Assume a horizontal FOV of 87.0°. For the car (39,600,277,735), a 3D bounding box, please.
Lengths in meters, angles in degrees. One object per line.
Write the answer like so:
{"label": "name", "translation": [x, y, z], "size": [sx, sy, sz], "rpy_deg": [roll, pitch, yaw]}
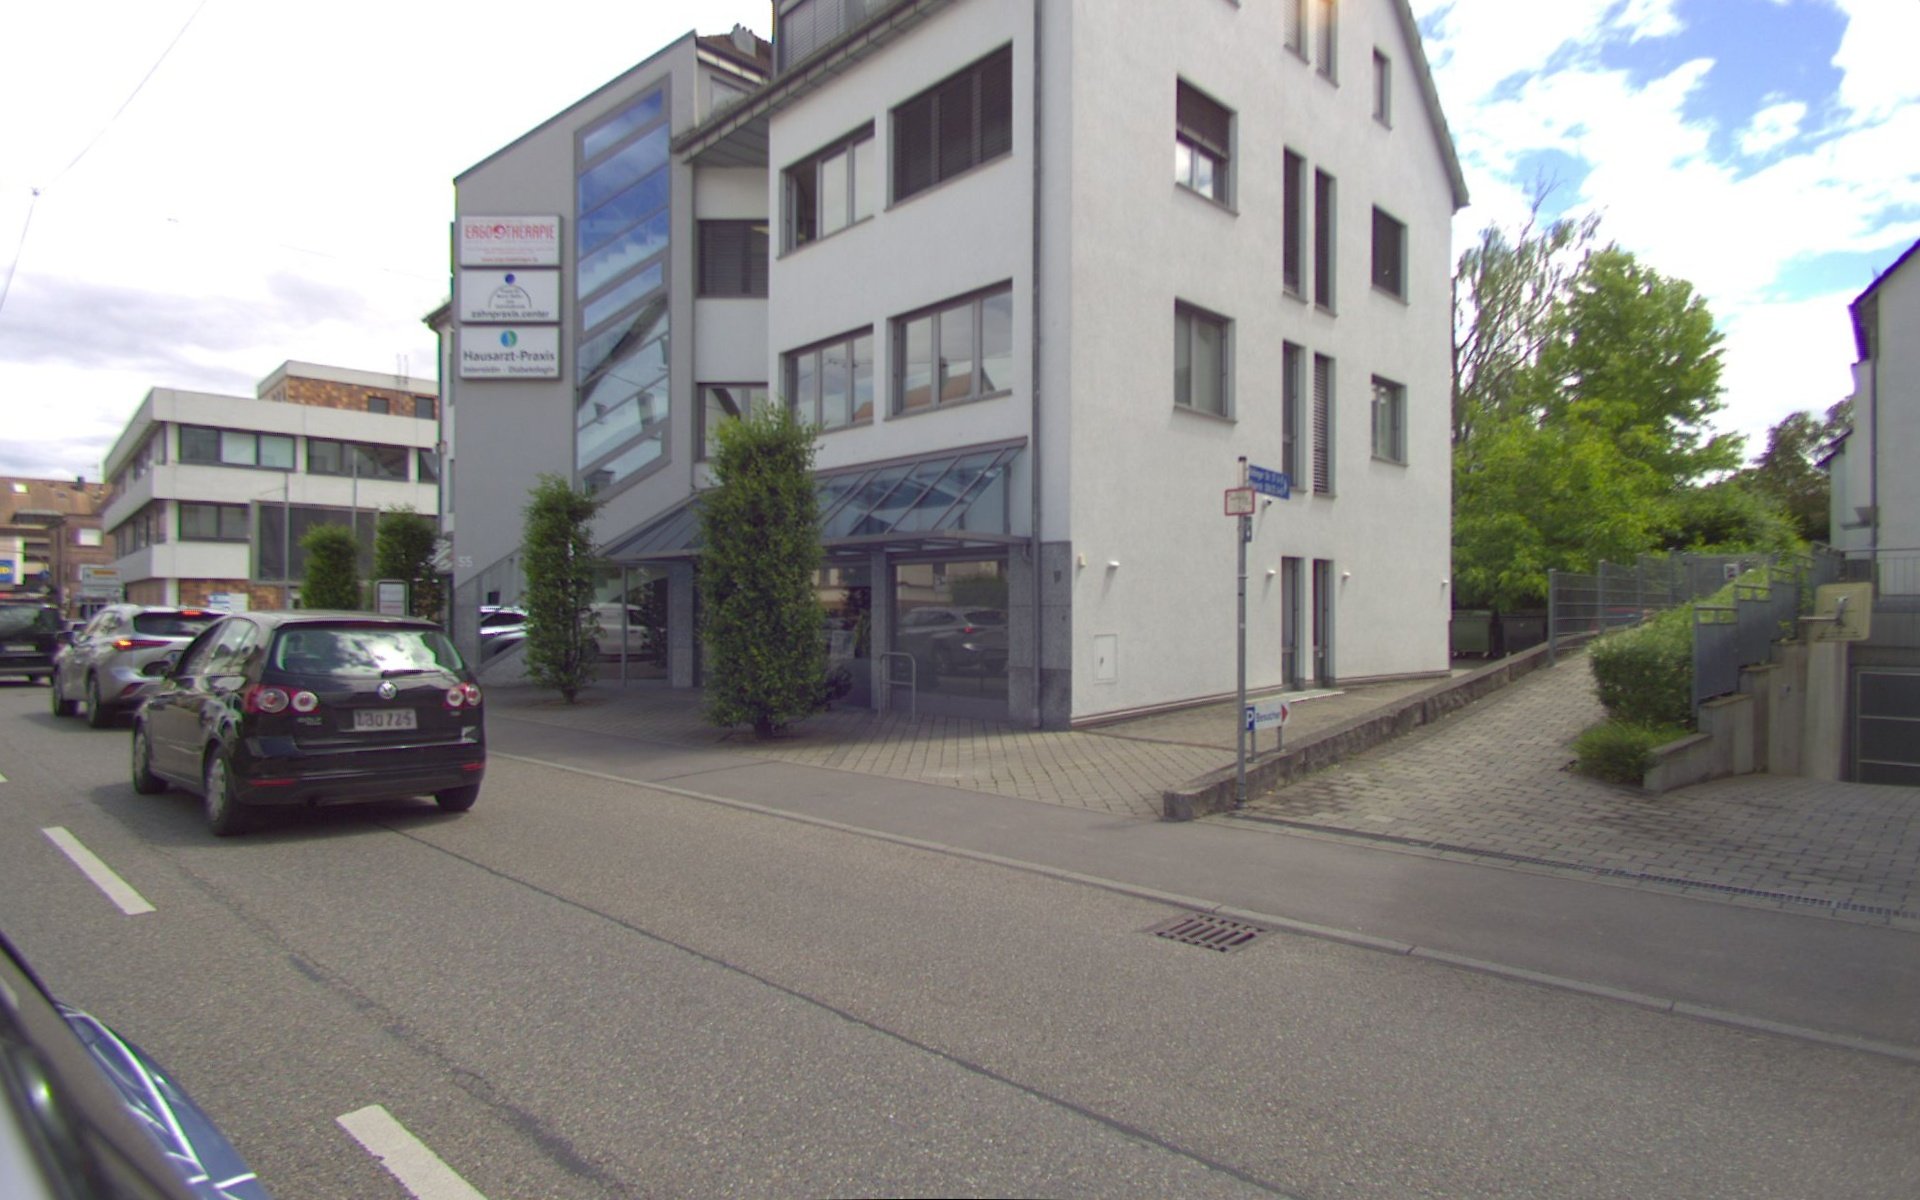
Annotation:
{"label": "car", "translation": [-12.415, 0.955, 15.553], "size": [4.793, 1.751, 1.965], "rpy_deg": [-1, -3, 41]}

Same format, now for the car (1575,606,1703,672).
{"label": "car", "translation": [16.970, 0.915, 25.228], "size": [3.939, 1.453, 1.722], "rpy_deg": [-1, 0, -42]}

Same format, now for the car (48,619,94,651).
{"label": "car", "translation": [-47.660, 1.843, 54.304], "size": [1.783, 1.541, 4.006], "rpy_deg": [-1, 0, -41]}

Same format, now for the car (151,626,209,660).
{"label": "car", "translation": [-34.653, 1.883, 44.932], "size": [1.798, 1.338, 4.242], "rpy_deg": [-1, 0, -41]}

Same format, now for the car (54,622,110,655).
{"label": "car", "translation": [-42.849, 1.829, 49.375], "size": [1.814, 1.437, 4.221], "rpy_deg": [-1, 0, -45]}

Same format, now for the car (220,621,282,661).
{"label": "car", "translation": [-32.562, 1.856, 46.451], "size": [1.869, 1.710, 3.806], "rpy_deg": [3, -2, -41]}

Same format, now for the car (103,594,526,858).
{"label": "car", "translation": [-5.355, 0.827, 8.190], "size": [4.036, 1.596, 1.812], "rpy_deg": [-1, -3, 41]}

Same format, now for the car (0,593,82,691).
{"label": "car", "translation": [-22.915, 0.982, 24.257], "size": [4.879, 2.168, 2.089], "rpy_deg": [-1, -2, 41]}

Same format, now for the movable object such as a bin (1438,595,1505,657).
{"label": "movable object such as a bin", "translation": [14.823, 0.738, 29.349], "size": [1.507, 1.744, 1.072], "rpy_deg": [-1, 0, 41]}

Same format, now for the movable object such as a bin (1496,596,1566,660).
{"label": "movable object such as a bin", "translation": [15.975, 0.763, 28.323], "size": [1.507, 1.744, 1.072], "rpy_deg": [-1, 0, 41]}
